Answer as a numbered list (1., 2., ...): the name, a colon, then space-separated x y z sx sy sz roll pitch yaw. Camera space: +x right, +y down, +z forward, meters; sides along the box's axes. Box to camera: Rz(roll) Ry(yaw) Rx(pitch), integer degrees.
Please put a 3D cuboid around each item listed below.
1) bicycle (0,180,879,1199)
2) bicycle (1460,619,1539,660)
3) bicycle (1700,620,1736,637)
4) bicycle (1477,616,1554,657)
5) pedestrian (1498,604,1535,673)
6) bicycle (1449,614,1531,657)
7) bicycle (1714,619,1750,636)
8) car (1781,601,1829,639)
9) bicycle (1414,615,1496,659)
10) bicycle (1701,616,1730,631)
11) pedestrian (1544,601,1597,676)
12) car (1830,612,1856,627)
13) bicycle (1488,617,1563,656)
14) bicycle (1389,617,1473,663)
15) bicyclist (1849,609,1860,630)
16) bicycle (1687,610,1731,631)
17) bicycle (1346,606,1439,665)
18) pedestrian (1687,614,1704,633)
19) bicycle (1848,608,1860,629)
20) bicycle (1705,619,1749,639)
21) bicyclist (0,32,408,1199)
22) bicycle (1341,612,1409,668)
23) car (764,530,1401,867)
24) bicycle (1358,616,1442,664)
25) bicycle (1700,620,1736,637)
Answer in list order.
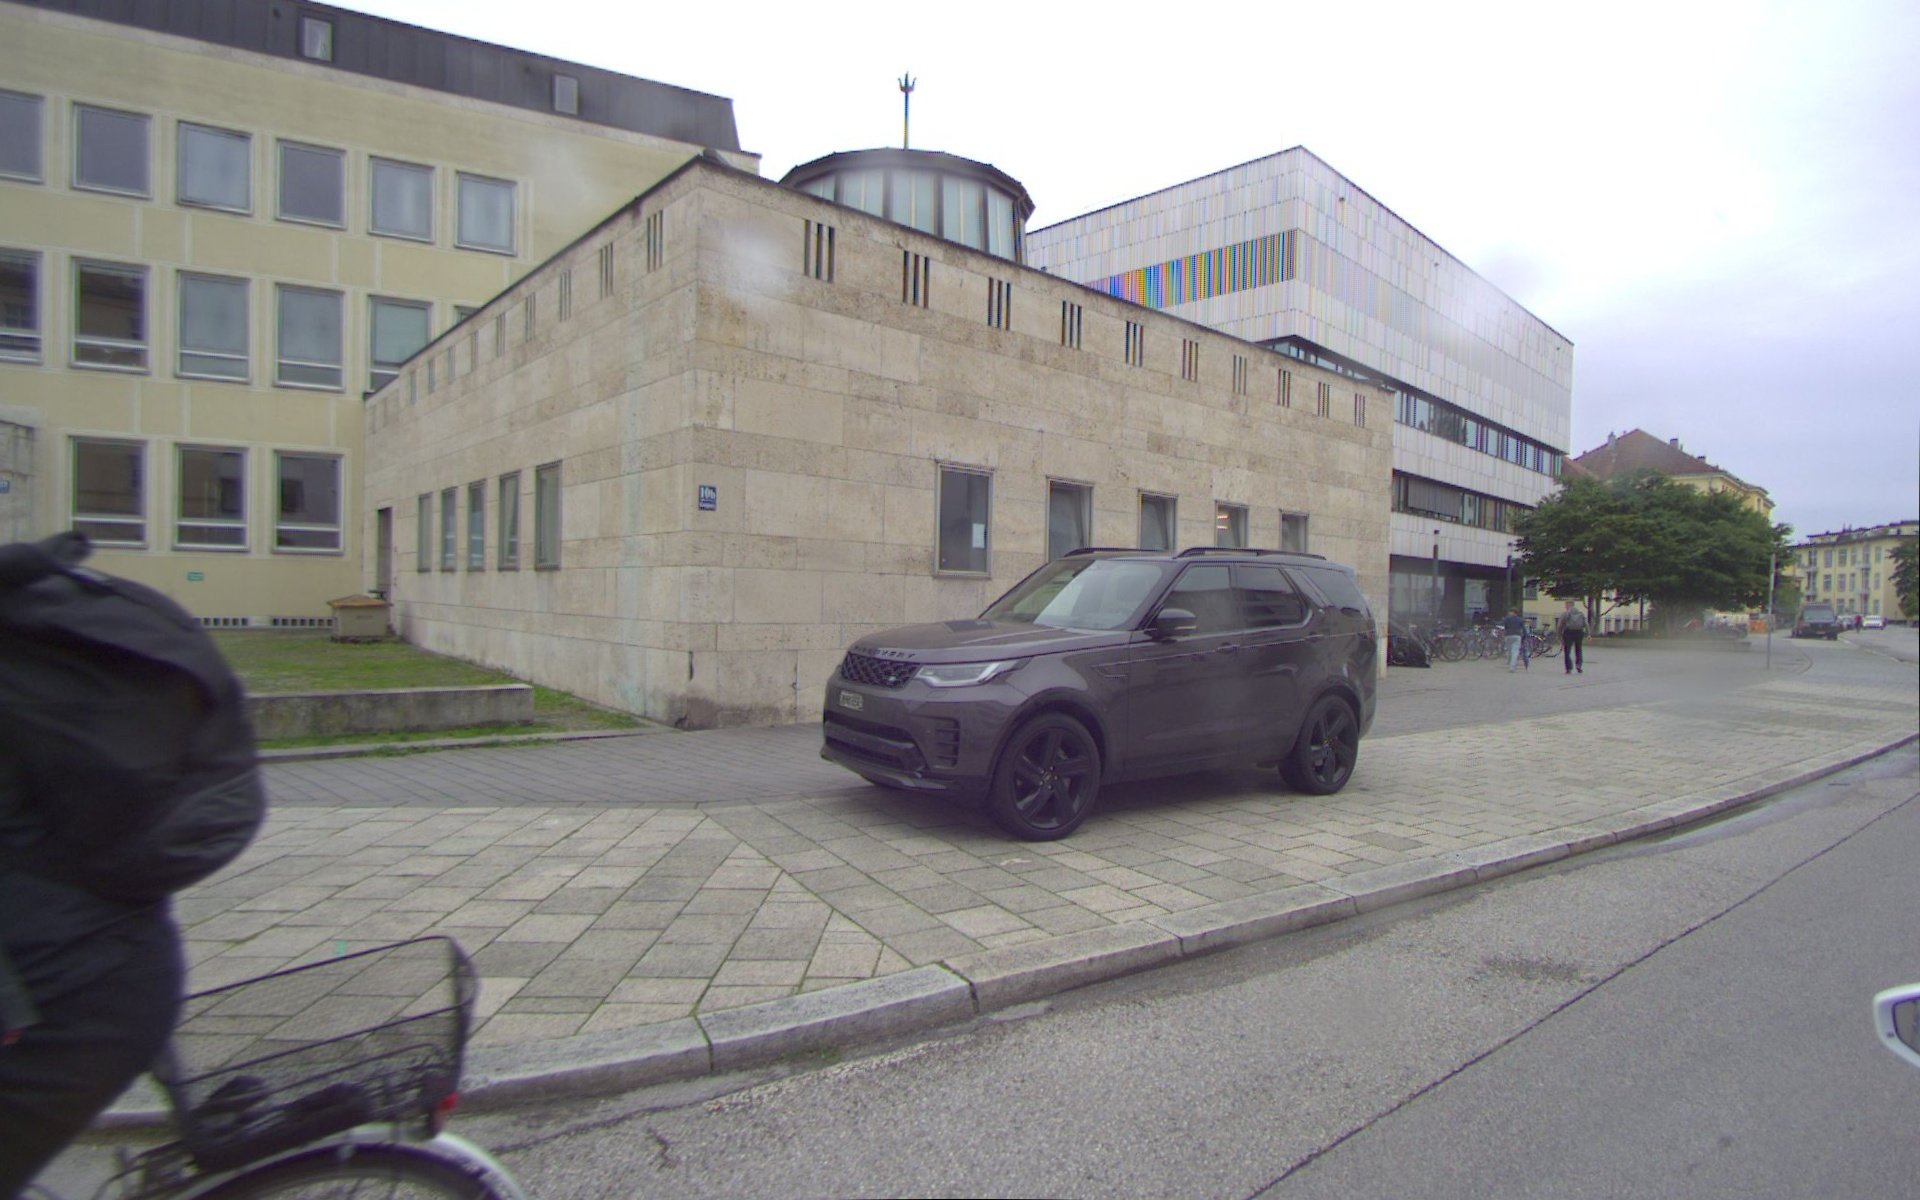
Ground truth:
1. bicycle: -1.618 0.496 0.912 3.081 1.745 0.790 0 -1 -33
2. bicycle: 16.717 1.208 31.167 2.022 1.126 0.613 4 3 42
3. bicycle: 50.261 1.878 66.619 0.503 1.047 1.775 0 3 -41
4. bicycle: 17.826 1.154 32.261 2.022 1.126 0.613 4 3 42
5. pedestrian: 13.600 0.927 24.576 0.632 1.623 0.606 3 2 20
6. bicycle: 15.718 1.043 29.814 2.020 1.126 0.614 3 3 38
7. bicycle: 55.007 1.955 71.542 0.672 1.107 1.887 0 3 -41
8. car: 63.338 1.493 75.383 2.391 2.751 5.931 0 -1 37
9. bicycle: 14.421 1.057 29.277 2.020 1.126 0.614 3 3 38
10. bicycle: 47.074 1.470 62.596 0.436 0.874 1.358 0 3 -44
11. pedestrian: 15.102 0.934 24.834 0.812 1.763 0.789 0 3 -35
12. car: 100.972 2.240 114.867 2.002 1.642 4.485 -1 -3 39
13. bicycle: 18.700 1.185 33.238 2.022 1.126 0.613 4 3 42
14. bicycle: 13.214 1.099 28.237 0.612 1.126 2.027 0 3 -41
15. bicyclist: 88.490 1.896 99.348 0.758 2.040 0.763 -3 -2 44
16. bicycle: 47.819 1.305 64.168 0.781 1.244 2.086 0 3 -41
17. bicycle: 11.146 0.892 25.934 2.076 1.370 0.610 4 3 44
18. pedestrian: 46.166 1.468 63.069 0.710 1.178 1.034 4 3 43
19. bicycle: 88.486 1.841 99.389 0.740 2.040 2.830 -1 -1 44
20. bicycle: 52.128 1.961 68.309 0.577 1.150 2.290 0 3 -41
21. bicyclist: -1.241 0.342 1.158 1.020 1.740 0.743 0 1 -33
22. bicycle: 10.321 0.968 25.011 1.435 1.277 0.460 4 3 44
23. car: 1.134 0.518 7.595 4.770 1.795 1.979 0 1 -38
24. bicycle: 11.995 1.075 27.449 0.610 1.126 2.032 0 3 -34
25. bicycle: 50.961 1.922 67.540 0.535 1.043 1.850 0 3 -41
